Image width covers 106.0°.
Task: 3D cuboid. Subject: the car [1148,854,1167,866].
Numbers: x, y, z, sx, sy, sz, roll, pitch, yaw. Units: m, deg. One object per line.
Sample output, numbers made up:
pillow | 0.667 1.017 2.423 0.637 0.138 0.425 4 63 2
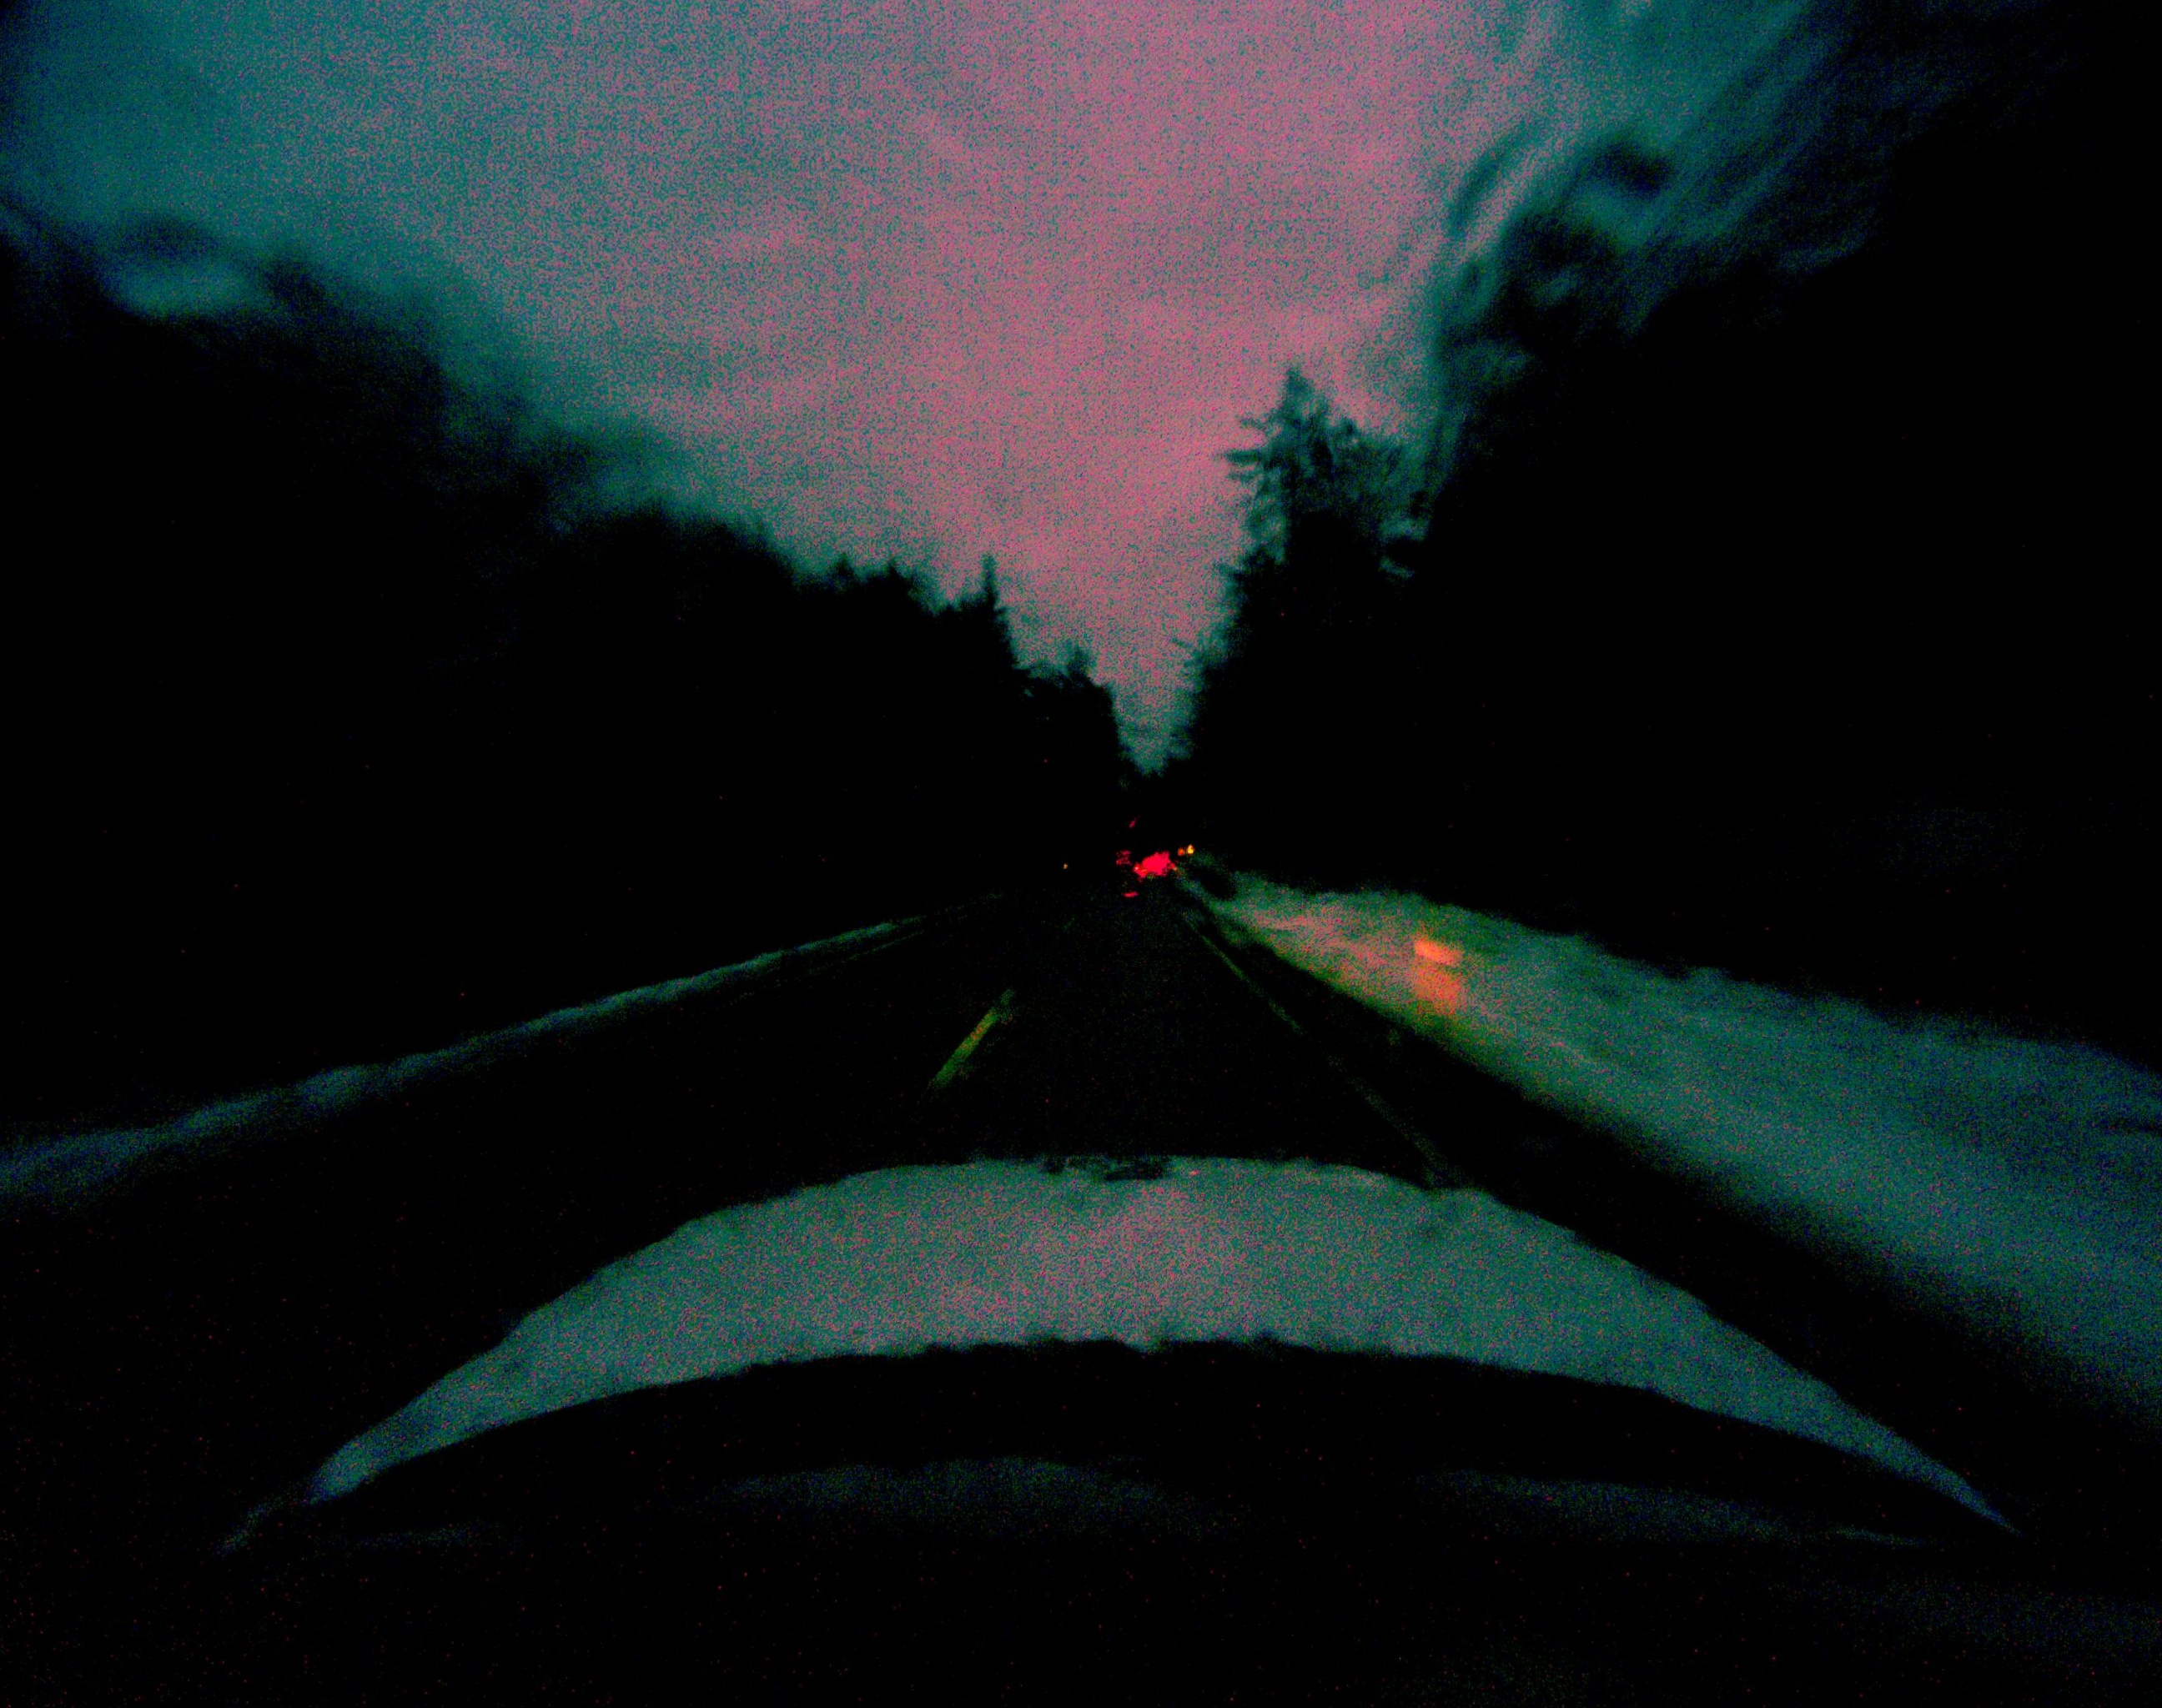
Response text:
car | 9.500 0.735 101.118 1.987 1.310 4.000 -4 0 1

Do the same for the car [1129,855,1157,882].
car | 4.982 1.113 64.555 1.984 1.872 4.006 -4 0 6
